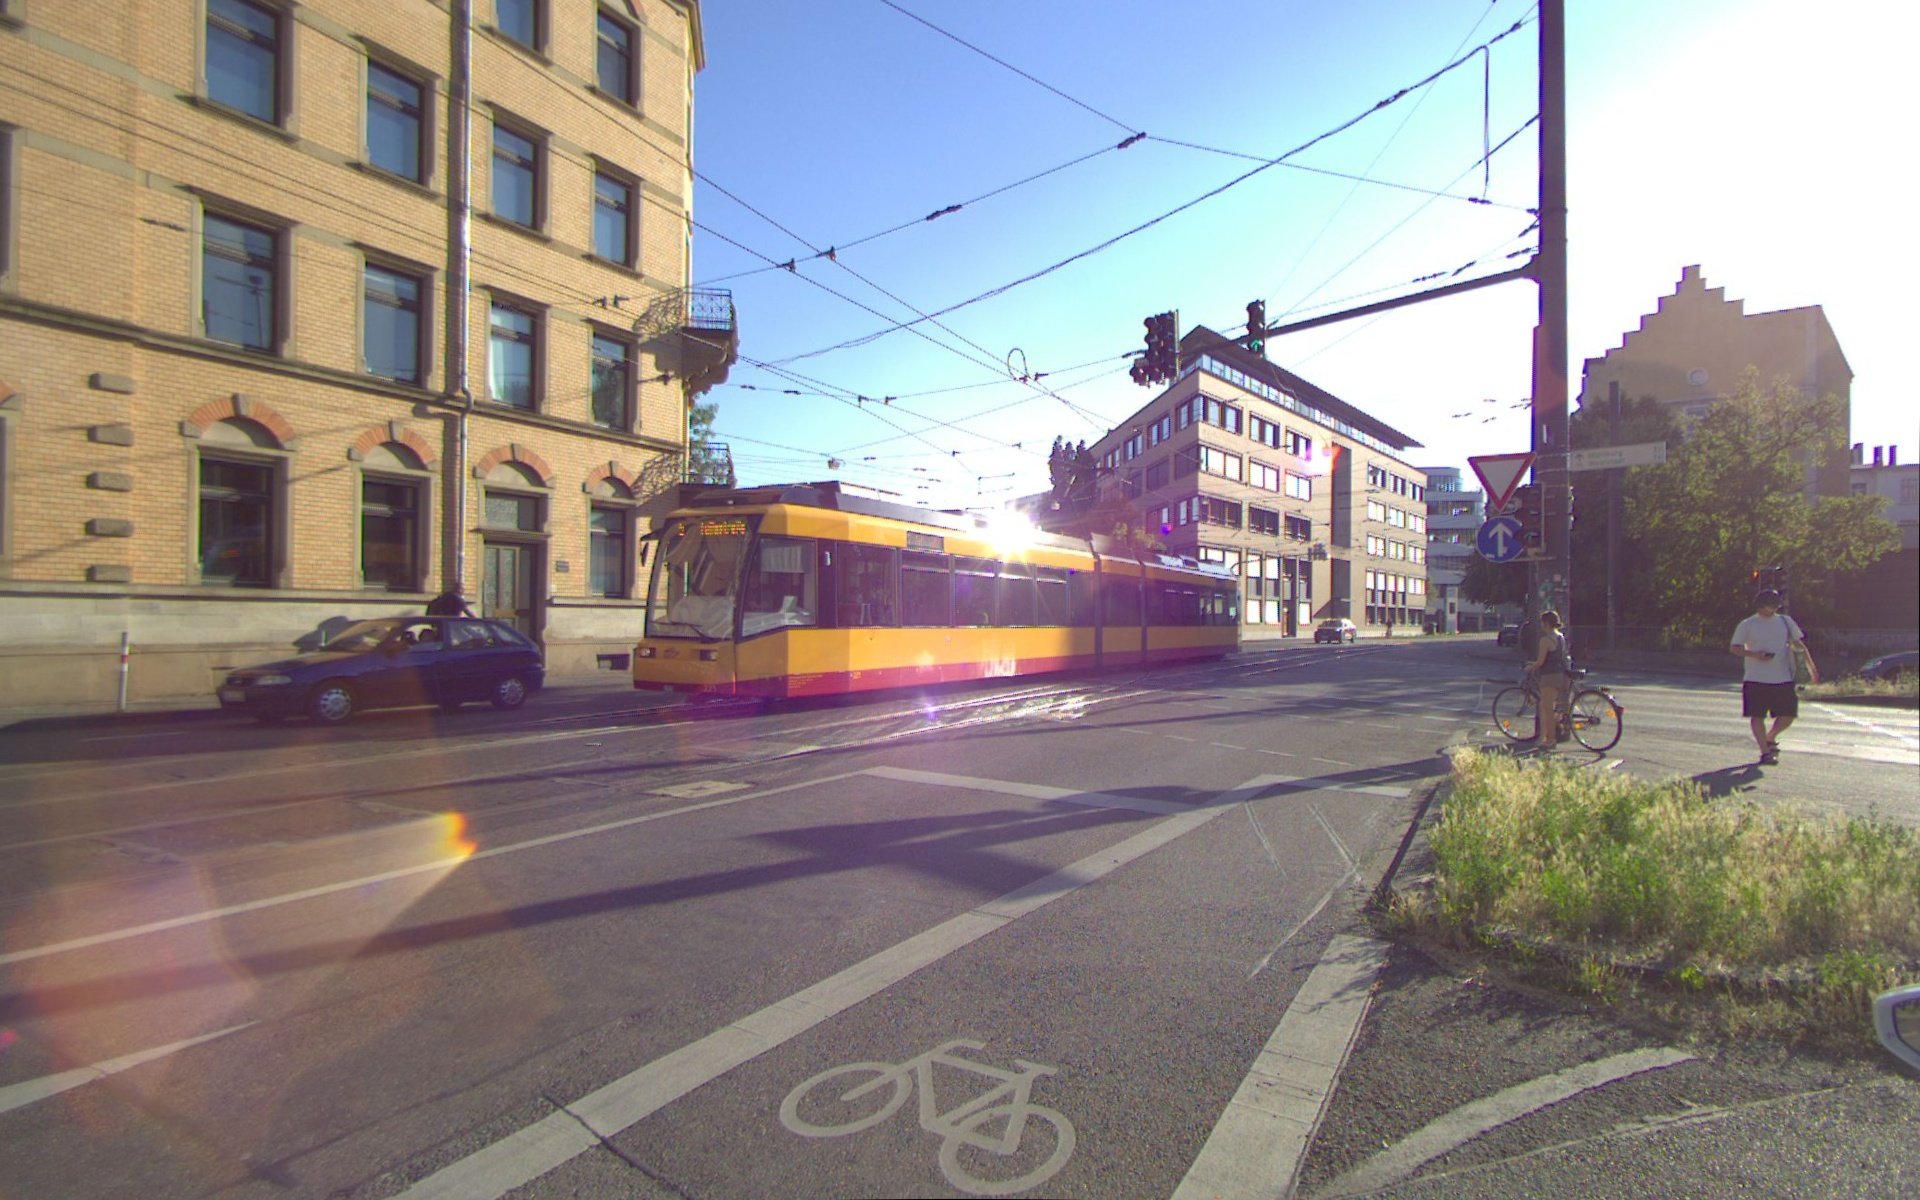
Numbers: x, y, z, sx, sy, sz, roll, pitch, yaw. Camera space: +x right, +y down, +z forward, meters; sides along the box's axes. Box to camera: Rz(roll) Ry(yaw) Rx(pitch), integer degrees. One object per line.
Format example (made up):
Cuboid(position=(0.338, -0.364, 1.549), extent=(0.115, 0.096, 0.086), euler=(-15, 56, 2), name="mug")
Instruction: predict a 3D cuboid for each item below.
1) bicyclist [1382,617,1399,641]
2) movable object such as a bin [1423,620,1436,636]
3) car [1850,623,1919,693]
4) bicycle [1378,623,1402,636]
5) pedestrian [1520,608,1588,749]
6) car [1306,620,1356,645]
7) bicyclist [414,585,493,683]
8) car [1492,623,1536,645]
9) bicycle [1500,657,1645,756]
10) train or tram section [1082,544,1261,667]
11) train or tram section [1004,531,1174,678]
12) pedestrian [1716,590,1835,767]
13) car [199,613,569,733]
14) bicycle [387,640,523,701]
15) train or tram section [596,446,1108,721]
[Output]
Cuboid(position=(37.346, 2.537, 87.186), extent=(0.981, 2.040, 1.244), euler=(0, -1, 43), name="bicyclist")
Cuboid(position=(48.571, 2.884, 103.823), extent=(1.053, 1.650, 0.885), euler=(0, -1, 39), name="movable object such as a bin")
Cuboid(position=(19.460, 1.110, 18.584), extent=(1.706, 1.313, 4.209), euler=(1, -1, -34), name="car")
Cuboid(position=(37.353, 2.556, 87.206), extent=(0.998, 1.150, 2.811), euler=(1, 0, 43), name="bicycle")
Cuboid(position=(7.118, 0.923, 12.044), extent=(0.481, 1.653, 0.524), euler=(1, -1, -17), name="pedestrian")
Cuboid(position=(25.129, 2.192, 67.986), extent=(1.794, 1.636, 4.445), euler=(0, -2, 40), name="car")
Cuboid(position=(-8.697, 0.580, 17.275), extent=(0.625, 1.634, 1.034), euler=(0, -1, 31), name="bicyclist")
Cuboid(position=(37.669, 2.285, 68.242), extent=(1.765, 1.407, 3.979), euler=(0, -1, 42), name="car")
Cuboid(position=(7.283, 1.232, 12.032), extent=(0.393, 1.043, 1.666), euler=(1, -1, -16), name="bicycle")
Cuboid(position=(7.654, 0.285, 34.565), extent=(2.818, 3.554, 11.278), euler=(0, -1, 29), name="train or tram section")
Cuboid(position=(3.662, 0.178, 27.386), extent=(2.818, 3.554, 5.294), euler=(0, -1, 29), name="train or tram section")
Cuboid(position=(8.783, 0.813, 10.861), extent=(0.896, 1.812, 0.825), euler=(0, -1, 32), name="pedestrian")
Cuboid(position=(-7.789, 0.907, 14.014), extent=(1.782, 1.398, 4.155), euler=(0, -1, 30), name="car")
Cuboid(position=(-8.659, 1.185, 17.316), extent=(0.637, 0.952, 2.083), euler=(0, -1, 31), name="bicycle")
Cuboid(position=(-0.809, -0.062, 19.385), extent=(2.818, 3.554, 12.993), euler=(0, -1, 29), name="train or tram section")
